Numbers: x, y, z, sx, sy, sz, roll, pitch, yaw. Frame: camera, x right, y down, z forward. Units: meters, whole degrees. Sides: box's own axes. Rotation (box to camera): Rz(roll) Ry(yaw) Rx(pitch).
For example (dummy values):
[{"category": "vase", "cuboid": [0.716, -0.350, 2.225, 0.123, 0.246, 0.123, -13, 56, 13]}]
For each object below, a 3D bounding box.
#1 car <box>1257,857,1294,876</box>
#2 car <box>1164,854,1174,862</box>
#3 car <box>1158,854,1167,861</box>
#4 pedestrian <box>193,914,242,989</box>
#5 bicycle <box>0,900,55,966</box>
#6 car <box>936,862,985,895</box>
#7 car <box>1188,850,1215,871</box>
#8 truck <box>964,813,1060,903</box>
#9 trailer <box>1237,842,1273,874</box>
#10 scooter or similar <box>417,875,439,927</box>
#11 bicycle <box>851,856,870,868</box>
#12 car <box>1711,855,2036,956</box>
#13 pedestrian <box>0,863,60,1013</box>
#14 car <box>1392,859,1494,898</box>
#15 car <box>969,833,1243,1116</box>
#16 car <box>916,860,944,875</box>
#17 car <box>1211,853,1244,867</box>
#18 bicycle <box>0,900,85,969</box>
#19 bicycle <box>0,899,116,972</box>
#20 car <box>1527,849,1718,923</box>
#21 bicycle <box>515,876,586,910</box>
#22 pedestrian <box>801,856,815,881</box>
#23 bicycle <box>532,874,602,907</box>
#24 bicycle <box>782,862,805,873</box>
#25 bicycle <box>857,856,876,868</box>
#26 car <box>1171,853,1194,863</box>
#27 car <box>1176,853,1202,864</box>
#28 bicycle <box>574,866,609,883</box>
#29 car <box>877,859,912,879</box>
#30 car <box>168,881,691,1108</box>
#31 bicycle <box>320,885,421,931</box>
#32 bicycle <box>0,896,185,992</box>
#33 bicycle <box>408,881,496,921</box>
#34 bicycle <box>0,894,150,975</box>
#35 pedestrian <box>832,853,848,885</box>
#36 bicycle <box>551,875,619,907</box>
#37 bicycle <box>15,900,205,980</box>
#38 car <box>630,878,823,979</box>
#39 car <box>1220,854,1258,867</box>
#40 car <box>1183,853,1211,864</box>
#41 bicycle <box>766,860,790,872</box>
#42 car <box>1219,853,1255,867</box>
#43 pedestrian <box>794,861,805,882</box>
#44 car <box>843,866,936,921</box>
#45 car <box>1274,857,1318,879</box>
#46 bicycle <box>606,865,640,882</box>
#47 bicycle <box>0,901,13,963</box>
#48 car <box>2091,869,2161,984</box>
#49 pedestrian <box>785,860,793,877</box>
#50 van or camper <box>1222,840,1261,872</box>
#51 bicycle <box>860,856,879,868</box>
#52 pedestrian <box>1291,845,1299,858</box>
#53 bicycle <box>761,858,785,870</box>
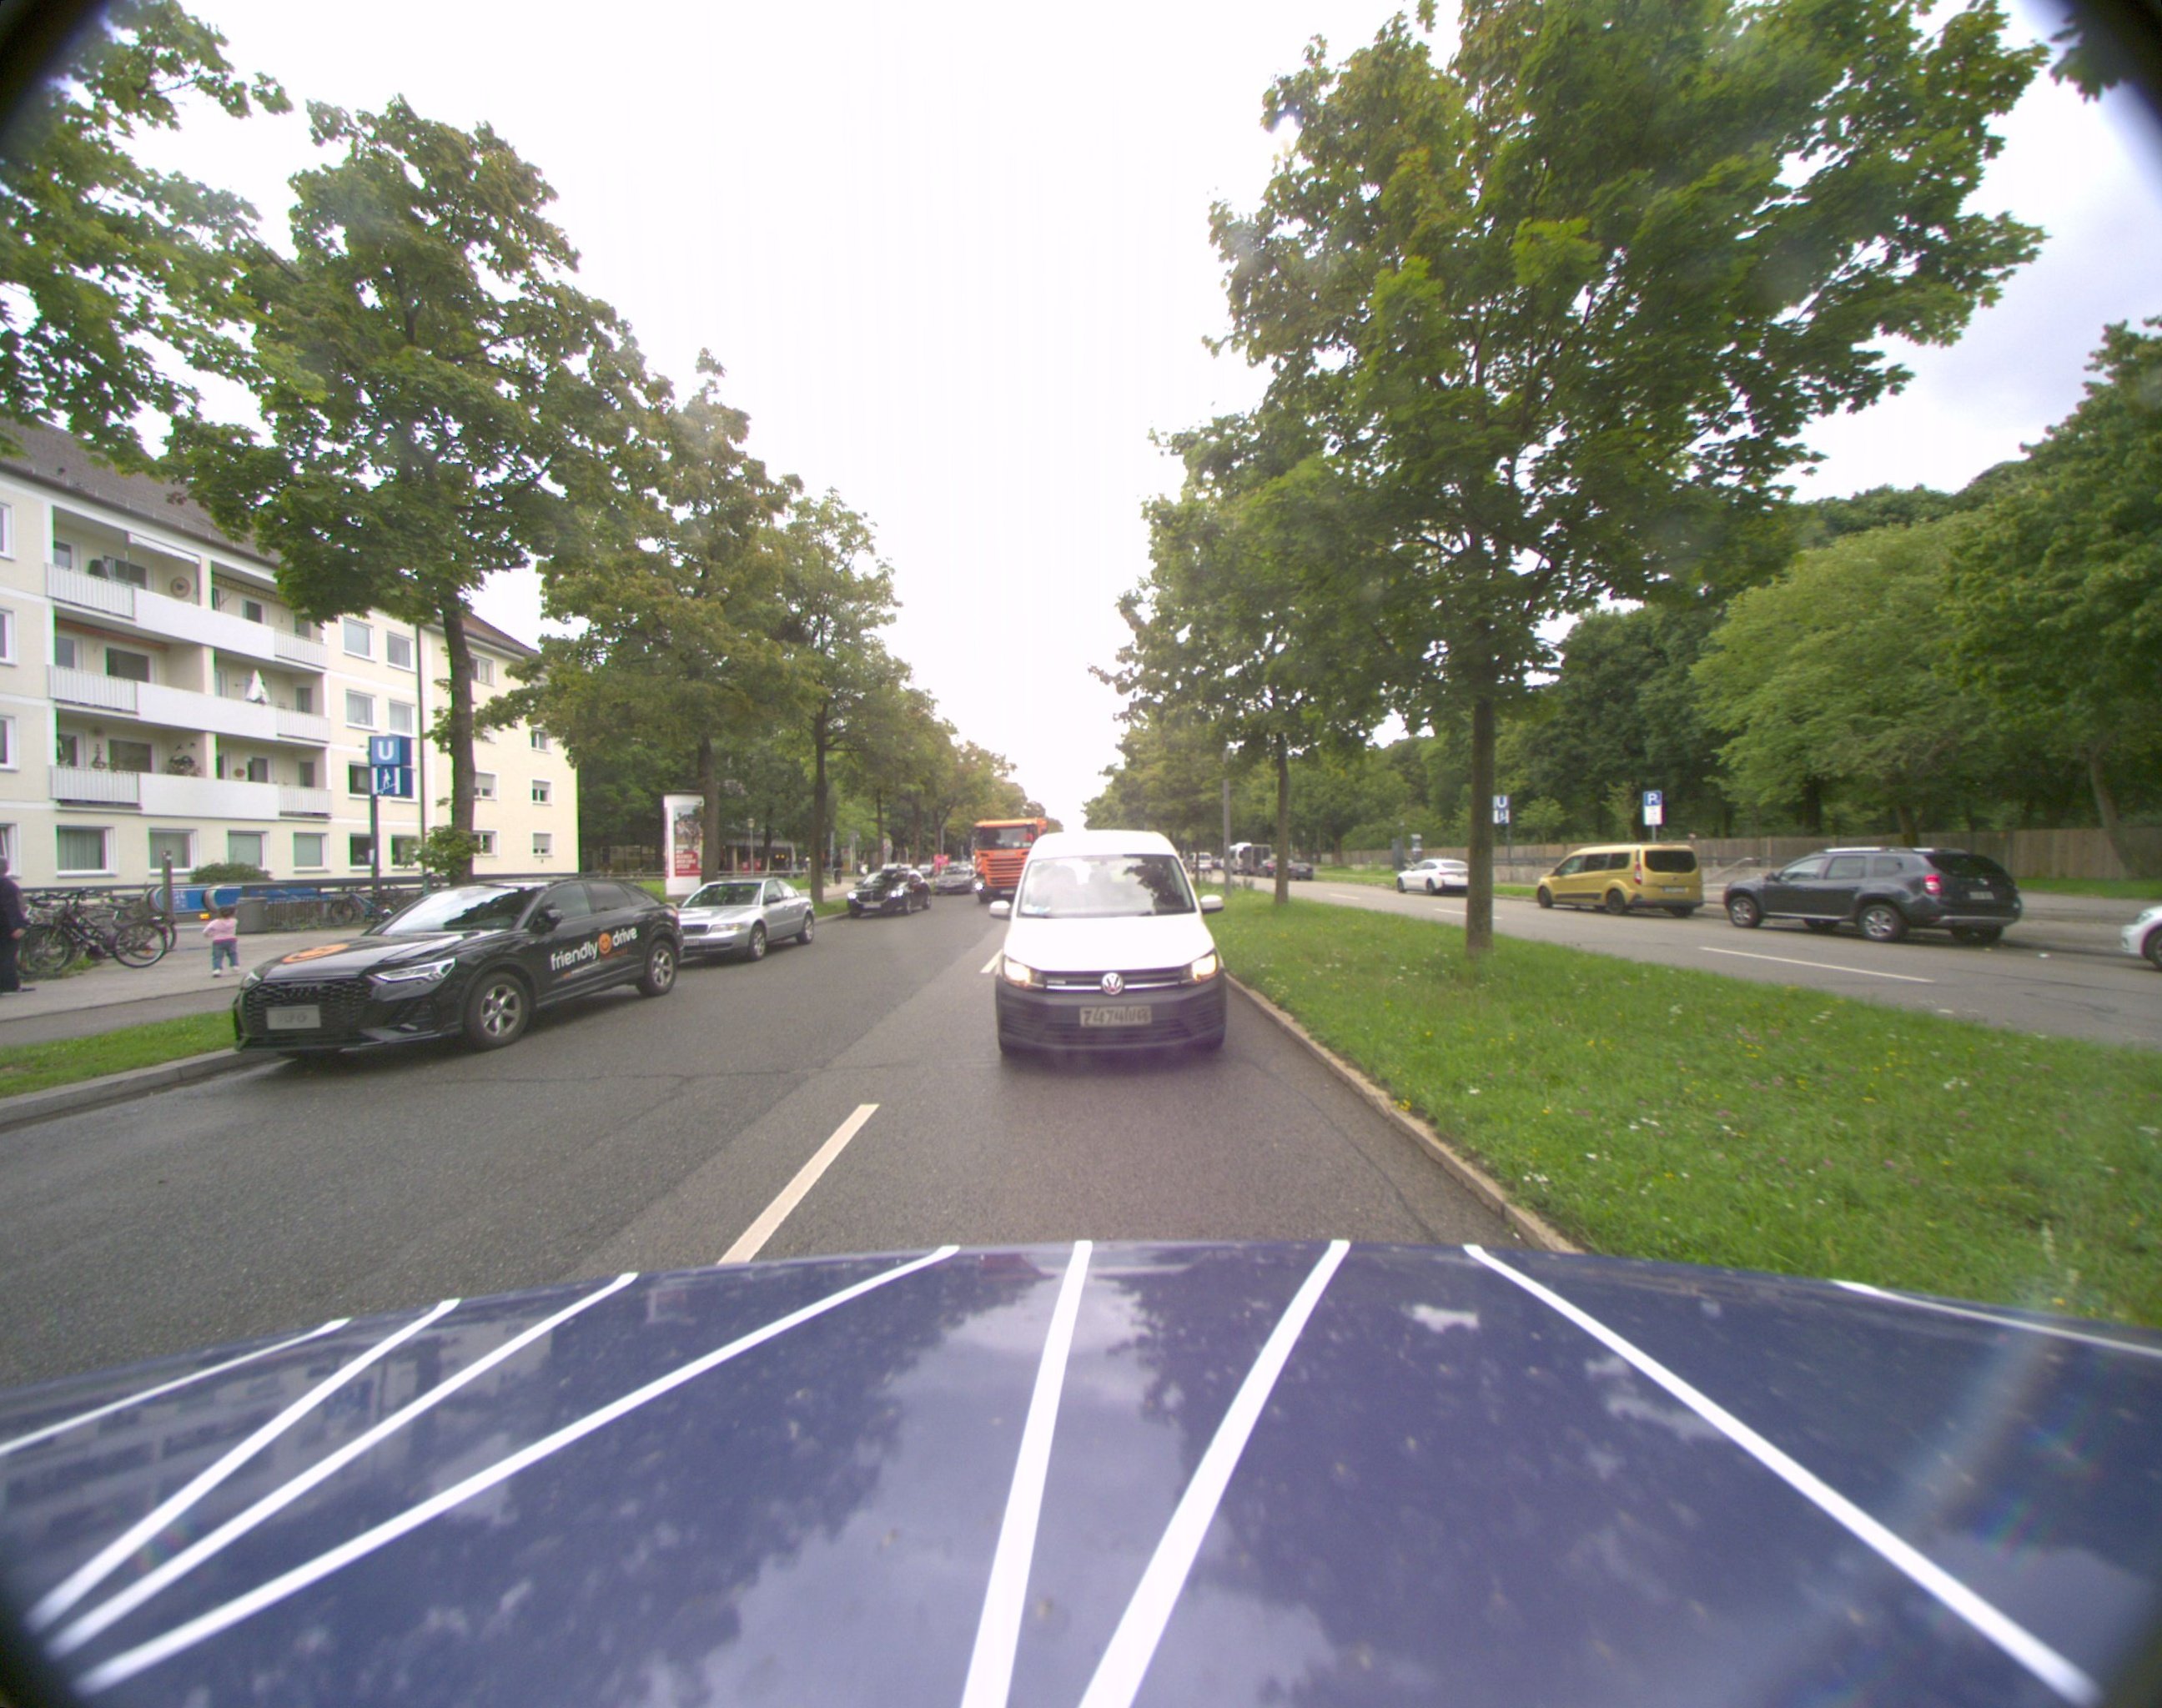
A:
[{"category": "car", "cuboid": [15.020, 0.938, 58.736, 1.805, 1.376, 4.238, 0, 0, 1]}, {"category": "car", "cuboid": [17.502, 0.854, 151.423, 1.889, 1.435, 4.169, -2, 0, 4]}, {"category": "car", "cuboid": [17.512, 0.726, 163.306, 1.889, 1.435, 4.169, -2, 0, 4]}, {"category": "pedestrian", "cuboid": [-11.734, 1.310, 10.324, 0.434, 0.944, 0.410, 0, 1, 39]}, {"category": "bicycle", "cuboid": [-17.650, 1.289, 11.947, 0.432, 1.022, 1.884, 0, 0, 1]}, {"category": "car", "cuboid": [-5.993, 1.182, 38.194, 1.686, 1.457, 4.115, -2, 0, 1]}, {"category": "car", "cuboid": [11.478, 0.633, 72.586, 1.804, 1.922, 4.993, 0, 0, 0]}, {"category": "truck", "cuboid": [-2.631, 0.145, 32.225, 3.046, 3.170, 9.133, -2, 0, 1]}, {"category": "trailer", "cuboid": [14.774, 0.324, 64.667, 2.022, 2.575, 4.658, 0, 0, 1]}, {"category": "scooter or similar", "cuboid": [-15.923, 1.132, 18.516, 0.359, 1.193, 1.386, -1, 1, -42]}, {"category": "bicycle", "cuboid": [-28.811, 1.101, 99.384, 2.313, 1.523, 0.649, -1, 0, 0]}, {"category": "car", "cuboid": [14.668, 0.836, 14.496, 1.741, 1.636, 4.255, 0, 0, 0]}, {"category": "pedestrian", "cuboid": [-12.552, 0.949, 8.589, 0.840, 1.671, 0.835, -1, 1, -1]}, {"category": "car", "cuboid": [14.816, 0.958, 31.441, 1.861, 1.464, 4.874, 0, 0, 0]}, {"category": "car", "cuboid": [0.141, 0.779, 7.233, 1.750, 1.807, 4.667, -1, 0, -1]}, {"category": "car", "cuboid": [-15.649, 1.359, 79.186, 1.826, 1.522, 4.603, 0, 0, 2]}, {"category": "car", "cuboid": [18.690, 0.782, 96.817, 4.006, 1.477, 1.797, -3, 0, -34]}, {"category": "bicycle", "cuboid": [-17.164, 1.286, 11.974, 0.432, 1.022, 1.884, 0, 0, 1]}, {"category": "bicycle", "cuboid": [-16.614, 1.279, 11.956, 0.432, 1.022, 1.884, 0, 0, 1]}, {"category": "car", "cuboid": [14.445, 0.768, 20.696, 1.819, 1.772, 4.818, 0, 0, 1]}, {"category": "bicycle", "cuboid": [-16.533, 1.214, 23.694, 1.882, 1.022, 0.432, 0, 1, -3]}, {"category": "pedestrian", "cuboid": [-18.726, 1.002, 52.131, 0.599, 1.720, 0.642, -1, 1, 33]}, {"category": "bicycle", "cuboid": [-16.613, 1.181, 24.559, 1.883, 1.022, 0.432, 0, 1, -5]}, {"category": "bicycle", "cuboid": [-28.604, 1.355, 75.634, 2.080, 1.114, 0.455, -1, 1, 0]}, {"category": "bicycle", "cuboid": [-28.584, 1.032, 101.421, 2.313, 1.613, 0.649, -1, 1, 0]}, {"category": "car", "cuboid": [18.681, 0.670, 140.245, 4.006, 1.718, 1.777, -2, 1, -34]}, {"category": "car", "cuboid": [18.512, 0.788, 130.367, 4.006, 1.548, 1.887, -3, 0, -32]}, {"category": "bicycle", "cuboid": [-28.726, 1.225, 44.571, 1.696, 0.965, 0.455, -1, 0, -3]}, {"category": "car", "cuboid": [-15.947, 1.218, 65.124, 1.826, 1.624, 4.198, 0, 0, 3]}, {"category": "car", "cuboid": [-6.114, 1.161, 7.989, 1.721, 1.524, 4.275, -2, 0, 1]}, {"category": "bicycle", "cuboid": [-16.467, 1.240, 17.628, 1.882, 1.022, 0.432, 0, 1, -3]}, {"category": "bicycle", "cuboid": [-13.795, 1.194, 10.550, 0.432, 1.127, 1.884, 0, 0, 1]}, {"category": "bicycle", "cuboid": [-16.574, 1.224, 20.041, 1.882, 1.022, 0.432, 0, 1, -3]}, {"category": "bicycle", "cuboid": [-15.912, 1.219, 11.854, 0.432, 1.095, 1.884, 0, 0, 1]}, {"category": "pedestrian", "cuboid": [-13.363, 0.812, 42.185, 0.641, 1.739, 0.849, 1, 0, -1]}, {"category": "bicycle", "cuboid": [-16.377, 1.205, 25.117, 1.883, 1.022, 0.432, 0, 1, -8]}, {"category": "bicycle", "cuboid": [-14.683, 1.259, 11.582, 0.432, 1.022, 1.884, 0, 0, 1]}, {"category": "car", "cuboid": [-6.242, 1.235, 13.970, 1.640, 1.378, 4.243, -2, 0, -2]}, {"category": "car", "cuboid": [18.762, 0.781, 90.229, 4.331, 1.430, 1.797, -2, 1, -34]}, {"category": "car", "cuboid": [18.565, 0.726, 121.353, 4.006, 1.548, 1.887, -3, 0, -32]}, {"category": "bicycle", "cuboid": [-28.953, 1.142, 72.587, 2.080, 1.114, 0.455, -1, 1, 0]}, {"category": "car", "cuboid": [19.270, 0.693, 93.886, 4.331, 1.564, 1.797, -2, 1, -34]}, {"category": "pedestrian", "cuboid": [-21.353, 1.321, 57.629, 0.581, 1.565, 0.779, -2, 1, -26]}, {"category": "car", "cuboid": [-5.980, 1.197, 24.269, 1.755, 1.457, 4.176, -2, 0, 1]}, {"category": "car", "cuboid": [14.708, 0.948, 52.294, 1.805, 1.417, 4.431, 0, 0, 1]}, {"category": "bicycle", "cuboid": [-26.943, 1.168, 44.702, 1.696, 0.965, 0.455, -1, 0, -3]}, {"category": "bicycle", "cuboid": [-18.418, 1.314, 11.990, 0.432, 1.022, 1.884, 0, 0, 1]}, {"category": "car", "cuboid": [14.604, 0.933, 8.052, 1.767, 1.441, 4.532, 0, 0, 0]}, {"category": "pedestrian", "cuboid": [-26.968, 1.305, 70.223, 0.632, 1.533, 0.659, 1, 1, -20]}, {"category": "van or camper", "cuboid": [14.844, 0.211, 70.796, 2.040, 2.821, 7.546, 0, 0, 1]}, {"category": "bicycle", "cuboid": [-28.496, 1.053, 102.326, 2.313, 1.613, 0.649, -1, 1, 0]}, {"category": "pedestrian", "cuboid": [27.299, -0.324, 96.880, 0.770, 1.757, 0.874, 0, 1, -3]}, {"category": "bicycle", "cuboid": [-29.639, 0.965, 73.147, 2.080, 1.114, 0.455, -1, 1, 0]}]
